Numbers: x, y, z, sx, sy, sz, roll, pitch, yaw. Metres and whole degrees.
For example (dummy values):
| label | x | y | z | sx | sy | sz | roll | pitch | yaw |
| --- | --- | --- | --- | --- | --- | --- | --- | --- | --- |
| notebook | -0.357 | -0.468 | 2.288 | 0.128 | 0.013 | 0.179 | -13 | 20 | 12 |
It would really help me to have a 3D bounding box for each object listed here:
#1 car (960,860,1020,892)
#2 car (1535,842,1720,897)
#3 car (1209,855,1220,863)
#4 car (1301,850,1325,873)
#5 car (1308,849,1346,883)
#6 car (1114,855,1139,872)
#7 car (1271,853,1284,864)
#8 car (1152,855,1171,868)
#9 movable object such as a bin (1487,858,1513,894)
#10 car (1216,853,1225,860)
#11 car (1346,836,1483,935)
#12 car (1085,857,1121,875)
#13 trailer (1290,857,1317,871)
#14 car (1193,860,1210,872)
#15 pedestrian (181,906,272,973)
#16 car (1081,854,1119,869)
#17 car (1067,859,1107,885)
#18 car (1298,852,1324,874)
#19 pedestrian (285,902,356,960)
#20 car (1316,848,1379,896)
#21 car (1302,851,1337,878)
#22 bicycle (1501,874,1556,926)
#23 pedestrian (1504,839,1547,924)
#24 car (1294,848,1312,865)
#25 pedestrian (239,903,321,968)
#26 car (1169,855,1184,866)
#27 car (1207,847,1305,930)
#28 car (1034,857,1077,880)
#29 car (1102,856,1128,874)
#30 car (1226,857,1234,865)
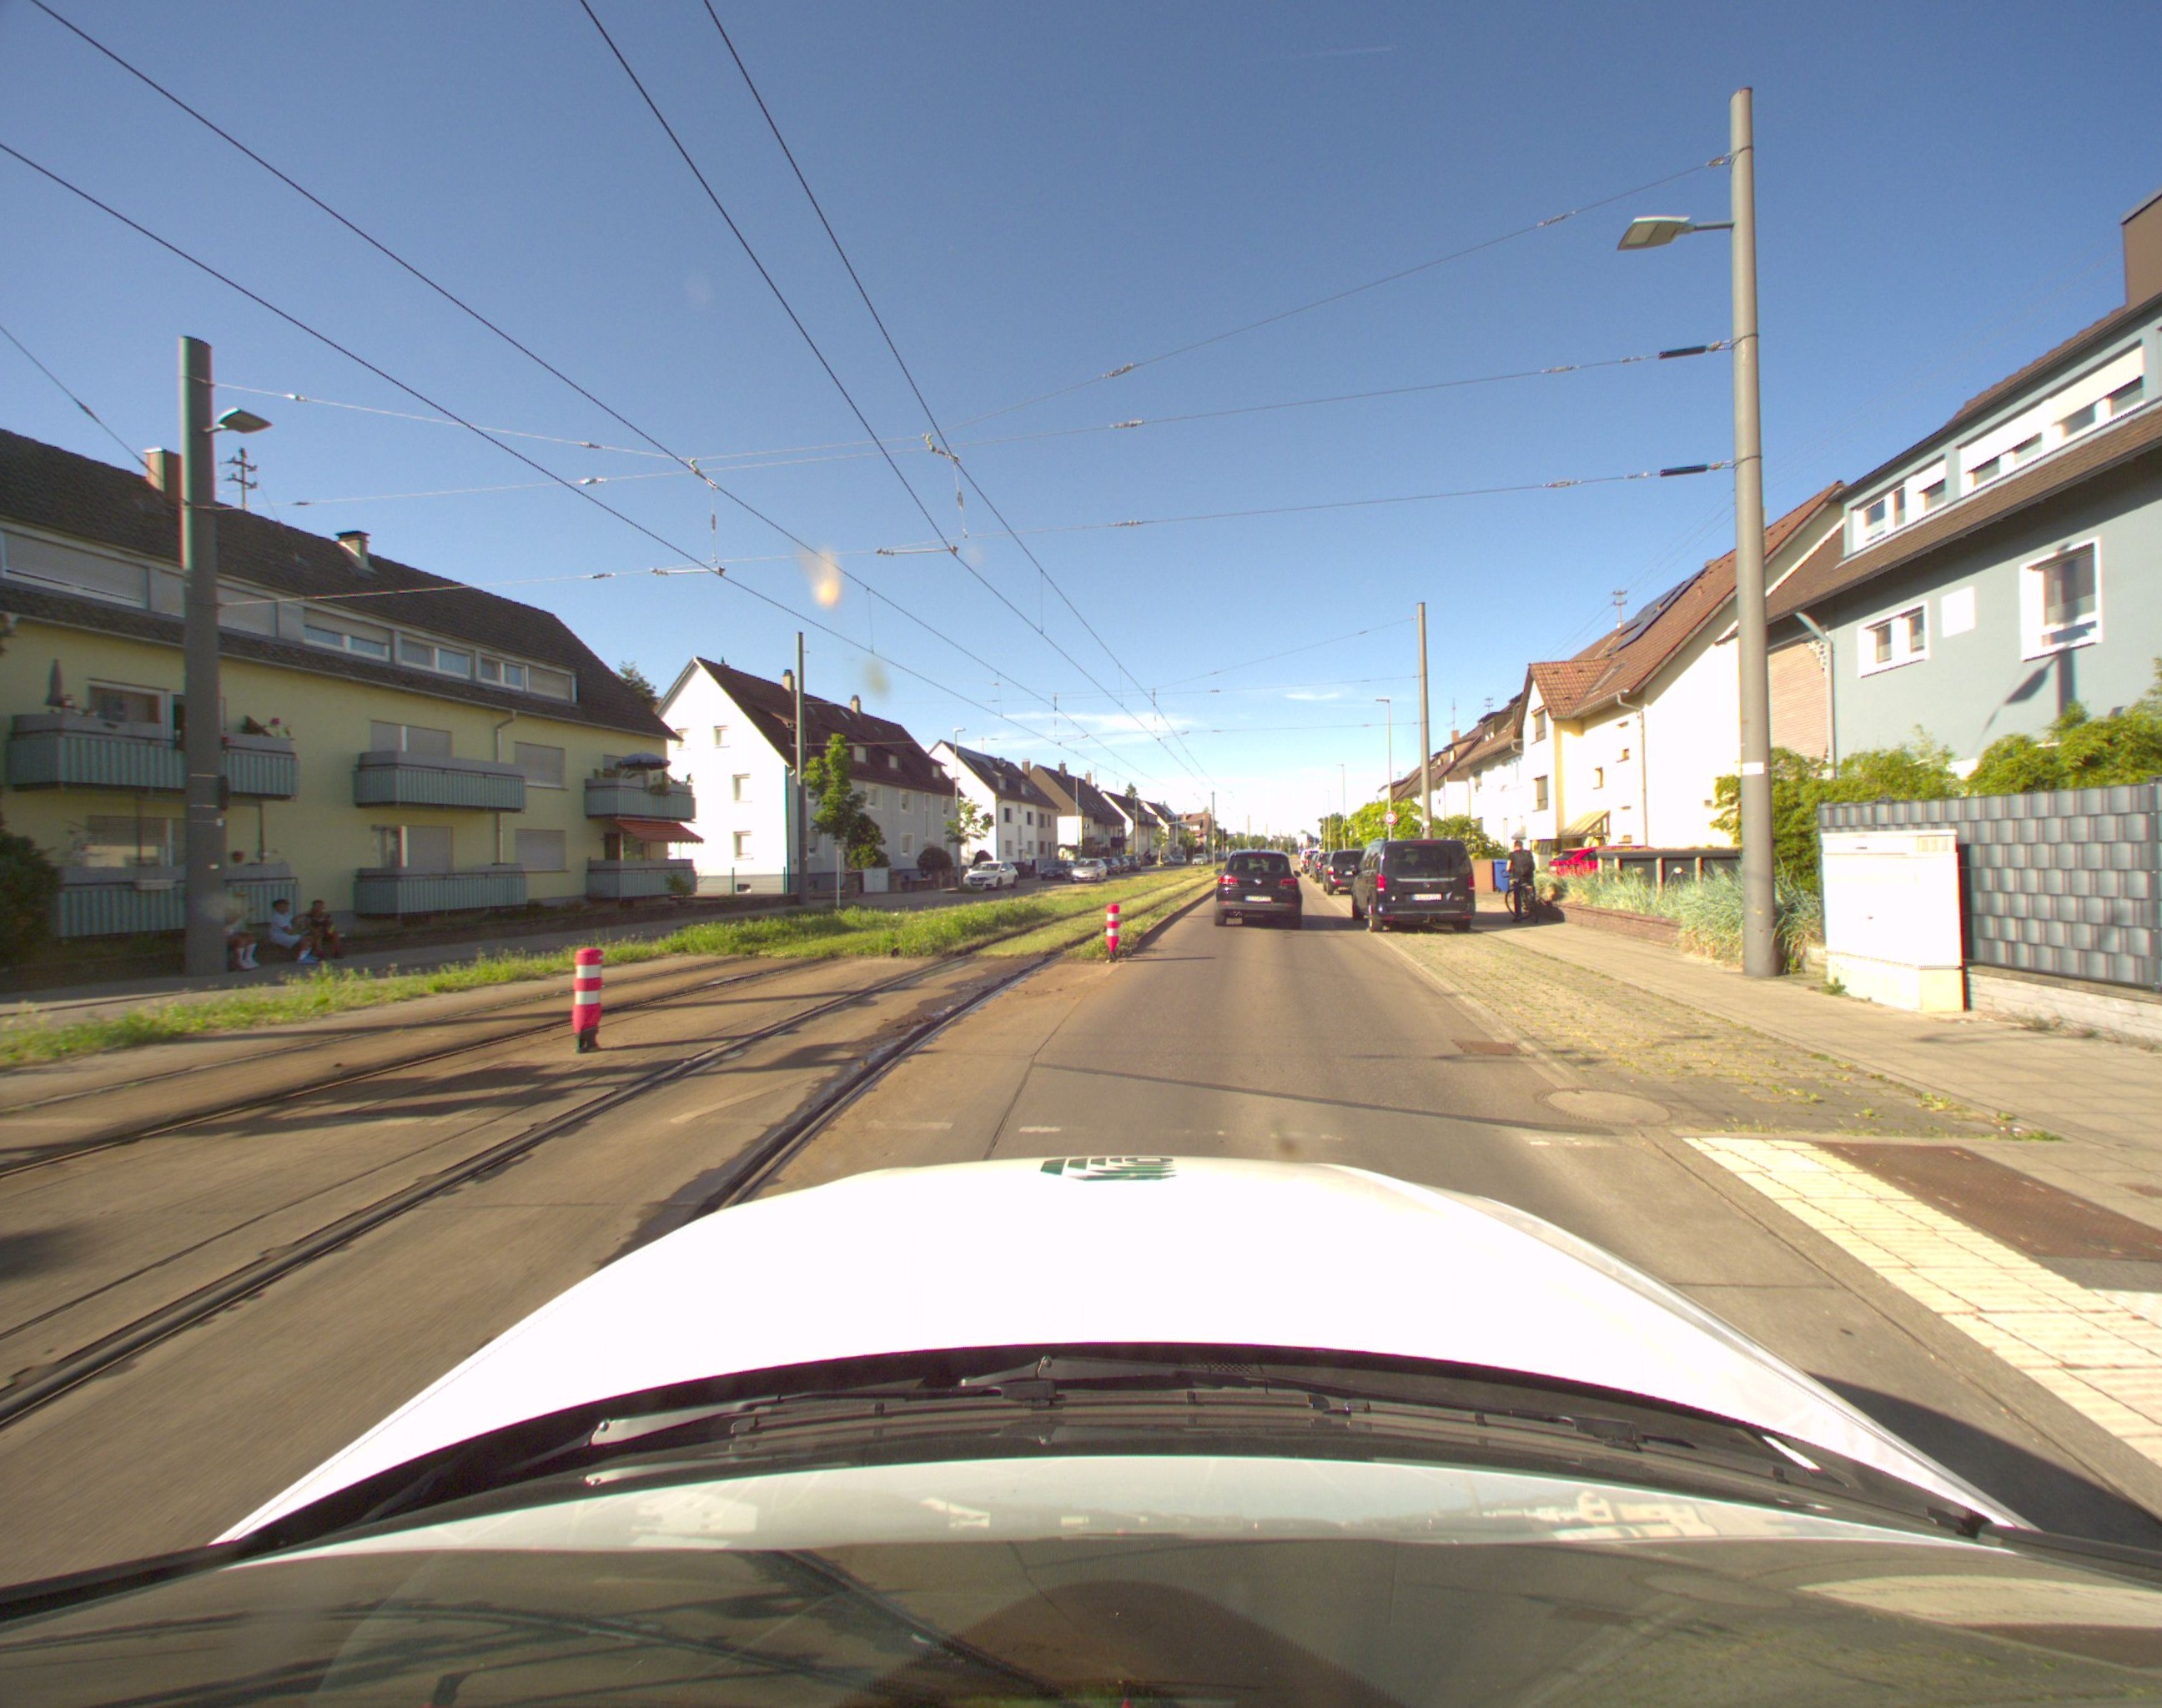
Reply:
| label | x | y | z | sx | sy | sz | roll | pitch | yaw |
| --- | --- | --- | --- | --- | --- | --- | --- | --- | --- |
| car | -4.636 | 1.086 | 42.086 | 1.680 | 1.518 | 4.230 | -2 | 0 | 14 |
| car | 16.058 | 0.450 | 24.169 | 4.137 | 1.467 | 1.907 | -2 | 0 | 12 |
| car | 25.852 | 0.971 | 157.323 | 1.648 | 1.581 | 4.015 | -1 | -2 | 14 |
| car | 18.572 | 0.562 | 65.212 | 1.677 | 1.776 | 4.674 | -1 | 0 | 14 |
| car | 12.531 | 0.593 | 41.702 | 1.654 | 1.547 | 3.850 | -3 | -1 | 15 |
| car | 4.546 | 0.888 | 80.181 | 1.791 | 1.597 | 4.827 | -1 | 0 | 11 |
| car | 25.263 | 0.556 | 104.494 | 1.561 | 1.391 | 3.628 | -1 | 0 | 14 |
| car | 10.010 | 0.891 | 100.996 | 1.605 | 1.453 | 3.735 | -2 | 0 | 19 |
| movable object such as a bin | 13.701 | 0.716 | 26.636 | 0.663 | 1.114 | 0.319 | -3 | -1 | 13 |
| car | 27.906 | 0.573 | 162.393 | 1.504 | 1.361 | 3.603 | -2 | 0 | 13 |
| car | 7.048 | 0.611 | 17.750 | 1.948 | 1.836 | 4.944 | -1 | 0 | 13 |
| car | 1.930 | 1.017 | 69.706 | 1.862 | 1.523 | 4.901 | -1 | 0 | 16 |
| trailer | 20.488 | 0.892 | 75.238 | 2.188 | 1.094 | 4.387 | -3 | -1 | 13 |
| car | 15.839 | 1.640 | 107.108 | 1.695 | 1.491 | 4.039 | -1 | -2 | 14 |
| pedestrian | -14.071 | 1.397 | 13.419 | 0.812 | 1.046 | 0.690 | -1 | -1 | 10 |
| car | 2.194 | 0.853 | 95.032 | 4.140 | 1.617 | 1.764 | -1 | 0 | 10 |
| car | 0.400 | 1.026 | 48.485 | 1.538 | 1.412 | 3.673 | -2 | 0 | 14 |
| car | 16.802 | 0.651 | 59.672 | 1.659 | 1.453 | 4.141 | -2 | -1 | 14 |
| pedestrian | -13.935 | 1.402 | 14.945 | 0.722 | 1.006 | 0.593 | -1 | -2 | -11 |
| car | 10.129 | 0.646 | 31.229 | 1.841 | 1.659 | 4.489 | -1 | 0 | 13 |
| car | 14.018 | 0.602 | 47.994 | 1.605 | 1.475 | 4.464 | -1 | -1 | 12 |
| bicycle | 9.181 | 0.919 | 16.765 | 0.596 | 0.979 | 1.568 | -3 | -1 | 15 |
| pedestrian | 9.197 | 0.563 | 16.879 | 0.578 | 1.723 | 0.717 | -2 | -1 | 14 |
| car | 26.592 | 0.281 | 97.540 | 1.979 | 1.862 | 4.936 | -1 | 0 | 14 |
| pedestrian | -14.003 | 1.405 | 14.264 | 0.820 | 1.065 | 0.622 | 0 | -2 | -20 |
| car | 13.306 | 0.861 | 113.365 | 1.607 | 1.409 | 3.731 | -1 | -2 | 14 |
| car | 3.870 | 0.709 | 18.625 | 1.802 | 1.671 | 4.265 | 1 | 0 | 7 |
| car | -1.690 | 0.987 | 55.512 | 1.777 | 1.463 | 4.182 | -1 | 0 | 14 |
| car | 3.169 | 0.994 | 74.812 | 1.509 | 1.475 | 4.217 | -1 | 0 | 14 |
| car | 32.760 | 1.569 | 179.169 | 1.454 | 1.677 | 3.300 | -1 | -1 | 14 |
